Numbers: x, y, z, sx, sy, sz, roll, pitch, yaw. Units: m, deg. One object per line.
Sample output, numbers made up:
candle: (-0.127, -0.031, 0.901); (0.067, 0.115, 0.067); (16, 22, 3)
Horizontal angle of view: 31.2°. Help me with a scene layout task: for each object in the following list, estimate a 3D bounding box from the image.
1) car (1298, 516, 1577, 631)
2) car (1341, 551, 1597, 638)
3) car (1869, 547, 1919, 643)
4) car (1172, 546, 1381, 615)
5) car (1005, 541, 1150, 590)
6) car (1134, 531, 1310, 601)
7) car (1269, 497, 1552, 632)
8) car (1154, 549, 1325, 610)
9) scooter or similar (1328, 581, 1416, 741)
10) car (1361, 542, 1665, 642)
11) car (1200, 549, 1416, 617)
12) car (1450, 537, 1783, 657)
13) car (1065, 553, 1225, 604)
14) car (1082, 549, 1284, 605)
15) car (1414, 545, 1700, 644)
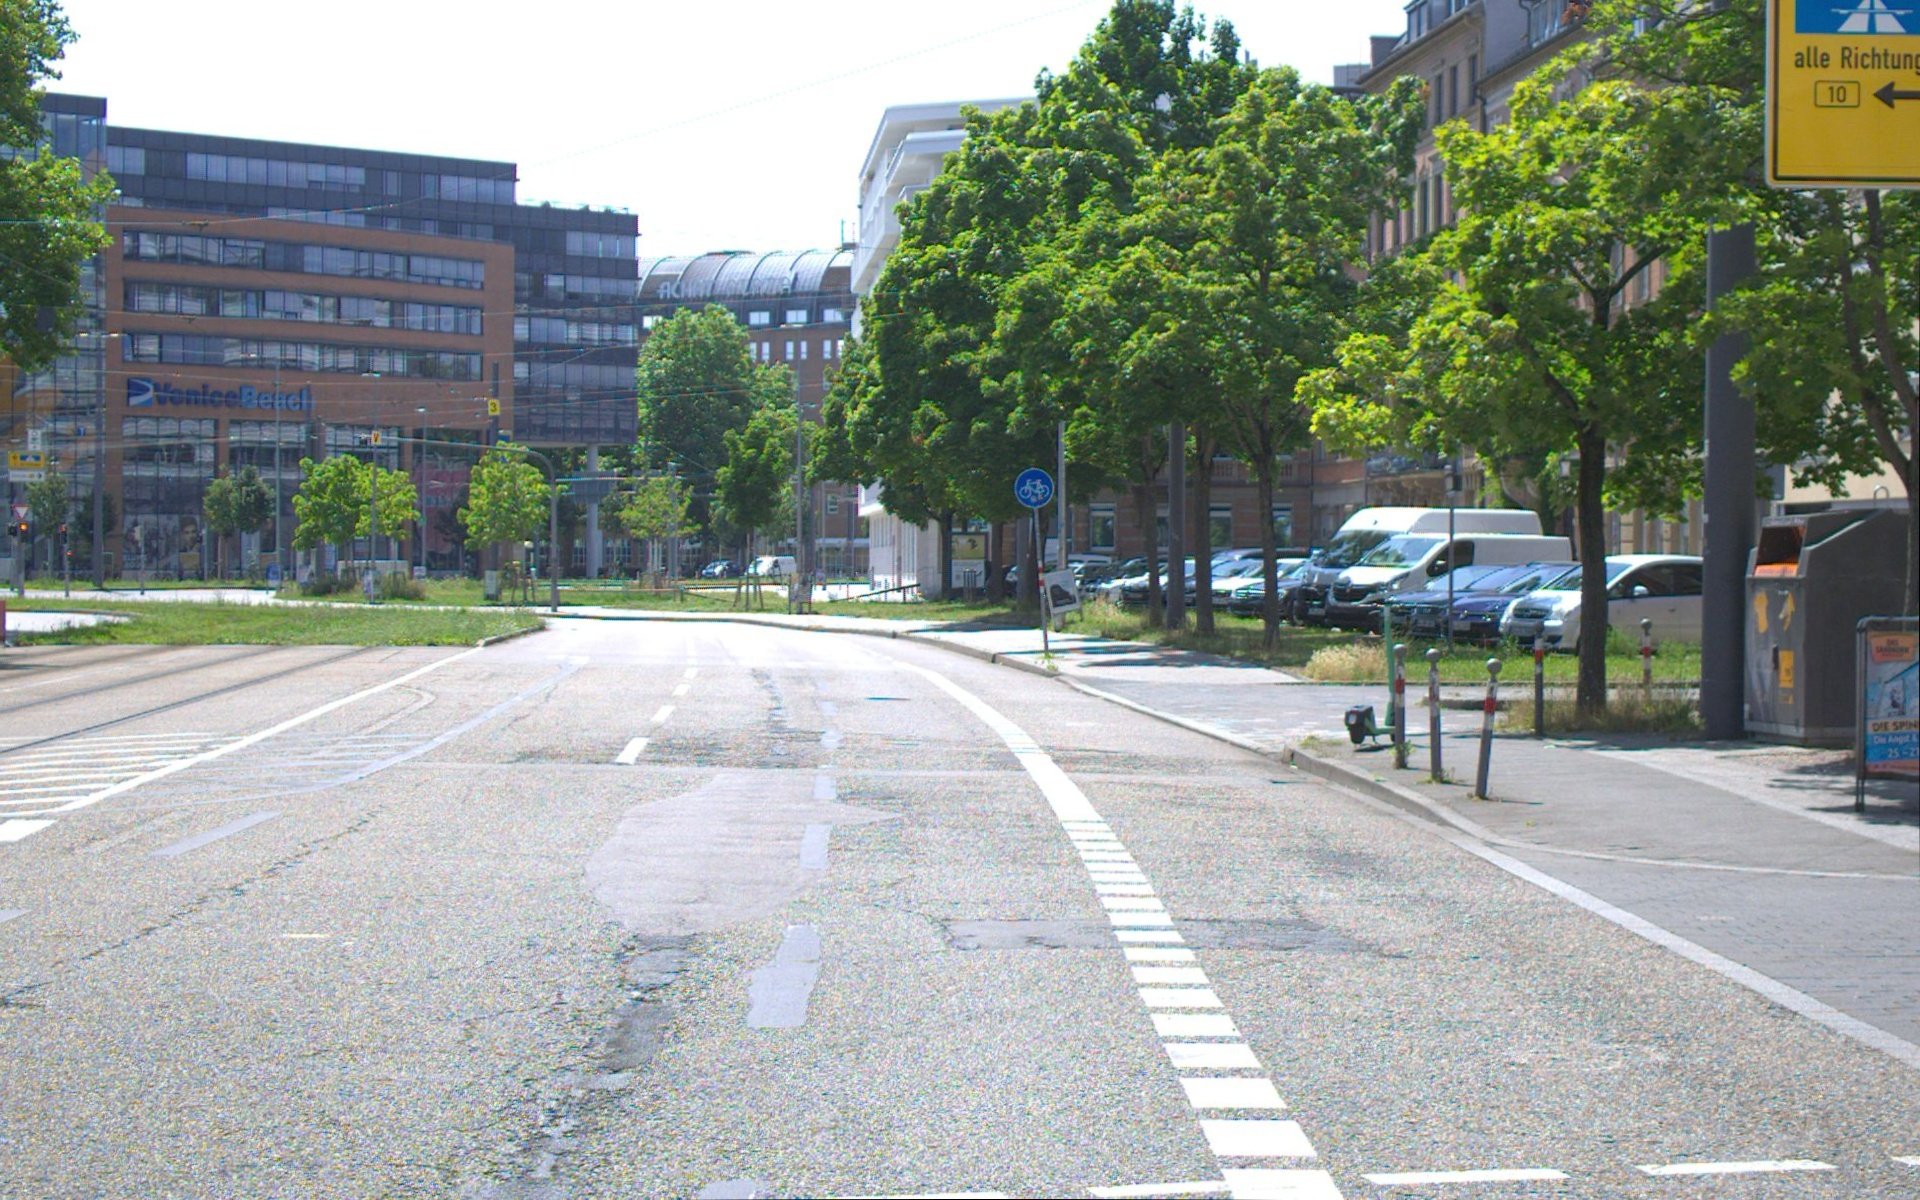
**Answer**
car: (8.760, -0.475, 62.880); (4.832, 1.966, 2.076); (1, 1, -33)
car: (8.792, -0.102, 59.367); (3.986, 1.382, 1.824); (1, 0, -25)
car: (17.637, -0.064, 60.541); (1.818, 1.678, 4.001); (2, 0, -6)
car: (7.169, -0.436, 77.518); (4.679, 1.422, 1.971); (1, 1, -41)
car: (4.169, -1.215, 121.257); (4.858, 1.595, 1.836); (1, 1, -31)
car: (6.635, -0.862, 87.019); (3.986, 1.656, 1.972); (1, 1, -30)
car: (8.733, -0.663, 66.348); (5.535, 2.452, 2.237); (1, 1, -41)
car: (6.834, -0.498, 83.981); (3.987, 1.395, 1.712); (1, 1, -37)
scooter or similar: (3.340, 0.485, 27.817); (0.390, 1.210, 1.178); (-3, 2, 20)
car: (9.042, -0.127, 56.148); (4.617, 1.492, 1.966); (1, 1, -28)
car: (7.520, -0.366, 74.067); (4.418, 1.334, 1.972); (1, 1, -36)
car: (9.550, -0.043, 50.016); (4.397, 1.626, 2.000); (1, 0, -26)
car: (5.198, -0.601, 96.657); (3.986, 1.309, 1.973); (1, 1, -26)
car: (5.782, -0.598, 89.179); (4.771, 1.309, 2.150); (1, 1, -26)
car: (9.205, -0.084, 52.981); (3.986, 1.395, 1.824); (1, 0, -25)
